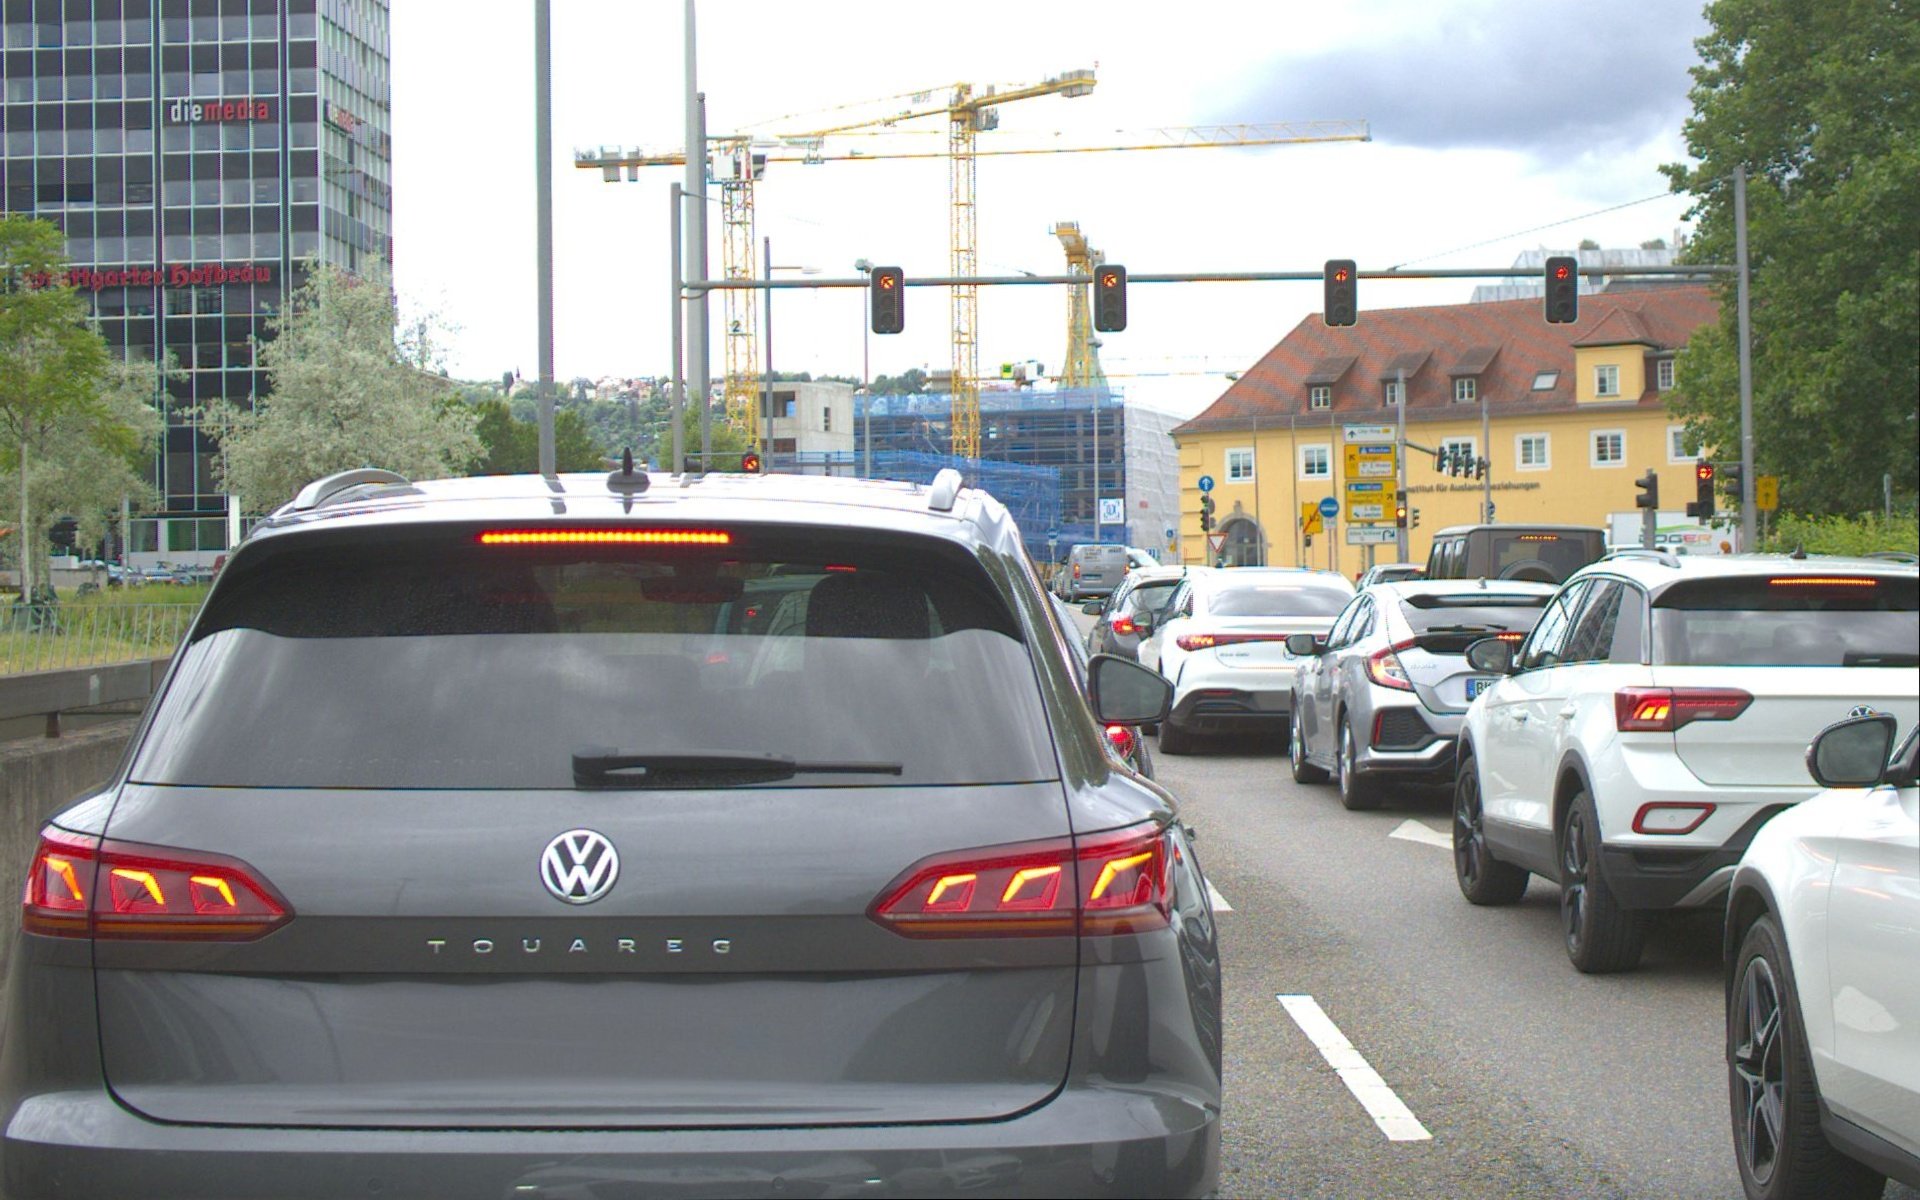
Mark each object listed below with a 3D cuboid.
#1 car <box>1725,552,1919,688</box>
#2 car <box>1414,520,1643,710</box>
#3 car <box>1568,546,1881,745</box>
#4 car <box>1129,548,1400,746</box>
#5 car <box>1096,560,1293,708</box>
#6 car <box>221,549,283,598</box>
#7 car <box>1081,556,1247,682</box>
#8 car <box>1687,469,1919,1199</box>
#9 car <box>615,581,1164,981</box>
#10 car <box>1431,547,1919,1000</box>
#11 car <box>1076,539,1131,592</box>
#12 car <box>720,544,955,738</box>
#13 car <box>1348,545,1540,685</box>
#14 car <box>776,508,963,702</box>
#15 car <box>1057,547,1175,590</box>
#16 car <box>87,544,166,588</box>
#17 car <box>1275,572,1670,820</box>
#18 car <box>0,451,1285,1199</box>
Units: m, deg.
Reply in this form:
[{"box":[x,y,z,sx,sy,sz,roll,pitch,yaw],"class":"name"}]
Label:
[{"box":[10.101,0.238,39.520,1.932,1.455,4.526,1,0,5],"class":"car"},{"box":[6.399,0.153,39.117,1.910,2.007,4.012,1,0,0],"class":"car"},{"box":[6.739,0.343,30.760,1.993,1.634,4.304,0,1,2],"class":"car"},{"box":[2.472,0.359,28.929,1.926,1.524,4.489,0,0,1],"class":"car"},{"box":[2.518,0.346,37.750,1.926,1.524,4.047,0,0,1],"class":"car"},{"box":[-31.506,-1.189,152.884,1.993,2.006,4.693,-1,2,-21],"class":"car"},{"box":[2.561,0.225,44.037,1.926,1.524,4.047,0,0,1],"class":"car"},{"box":[2.717,0.583,6.150,1.926,1.648,4.490,0,1,1],"class":"car"},{"box":[-0.283,0.644,14.404,1.951,1.379,3.931,1,1,-1],"class":"car"},{"box":[3.170,0.594,14.019,1.926,1.545,4.489,0,0,1],"class":"car"},{"box":[4.634,-1.103,111.454,1.619,1.622,4.000,1,-1,0],"class":"car"},{"box":[-1.063,0.326,31.032,1.951,1.594,3.931,1,1,-1],"class":"car"},{"box":[6.235,0.186,44.697,1.910,1.691,4.012,1,0,0],"class":"car"},{"box":[-0.992,0.031,38.565,1.951,2.011,3.931,1,1,-1],"class":"car"},{"box":[5.971,-1.212,131.829,4.222,1.598,1.749,1,0,36],"class":"car"},{"box":[-40.434,-1.646,166.723,1.994,2.006,4.691,-2,3,-37],"class":"car"},{"box":[3.180,0.551,22.204,1.926,1.427,4.489,0,0,1],"class":"car"},{"box":[-0.565,0.599,6.667,1.951,1.646,4.000,0,1,-1],"class":"car"}]
